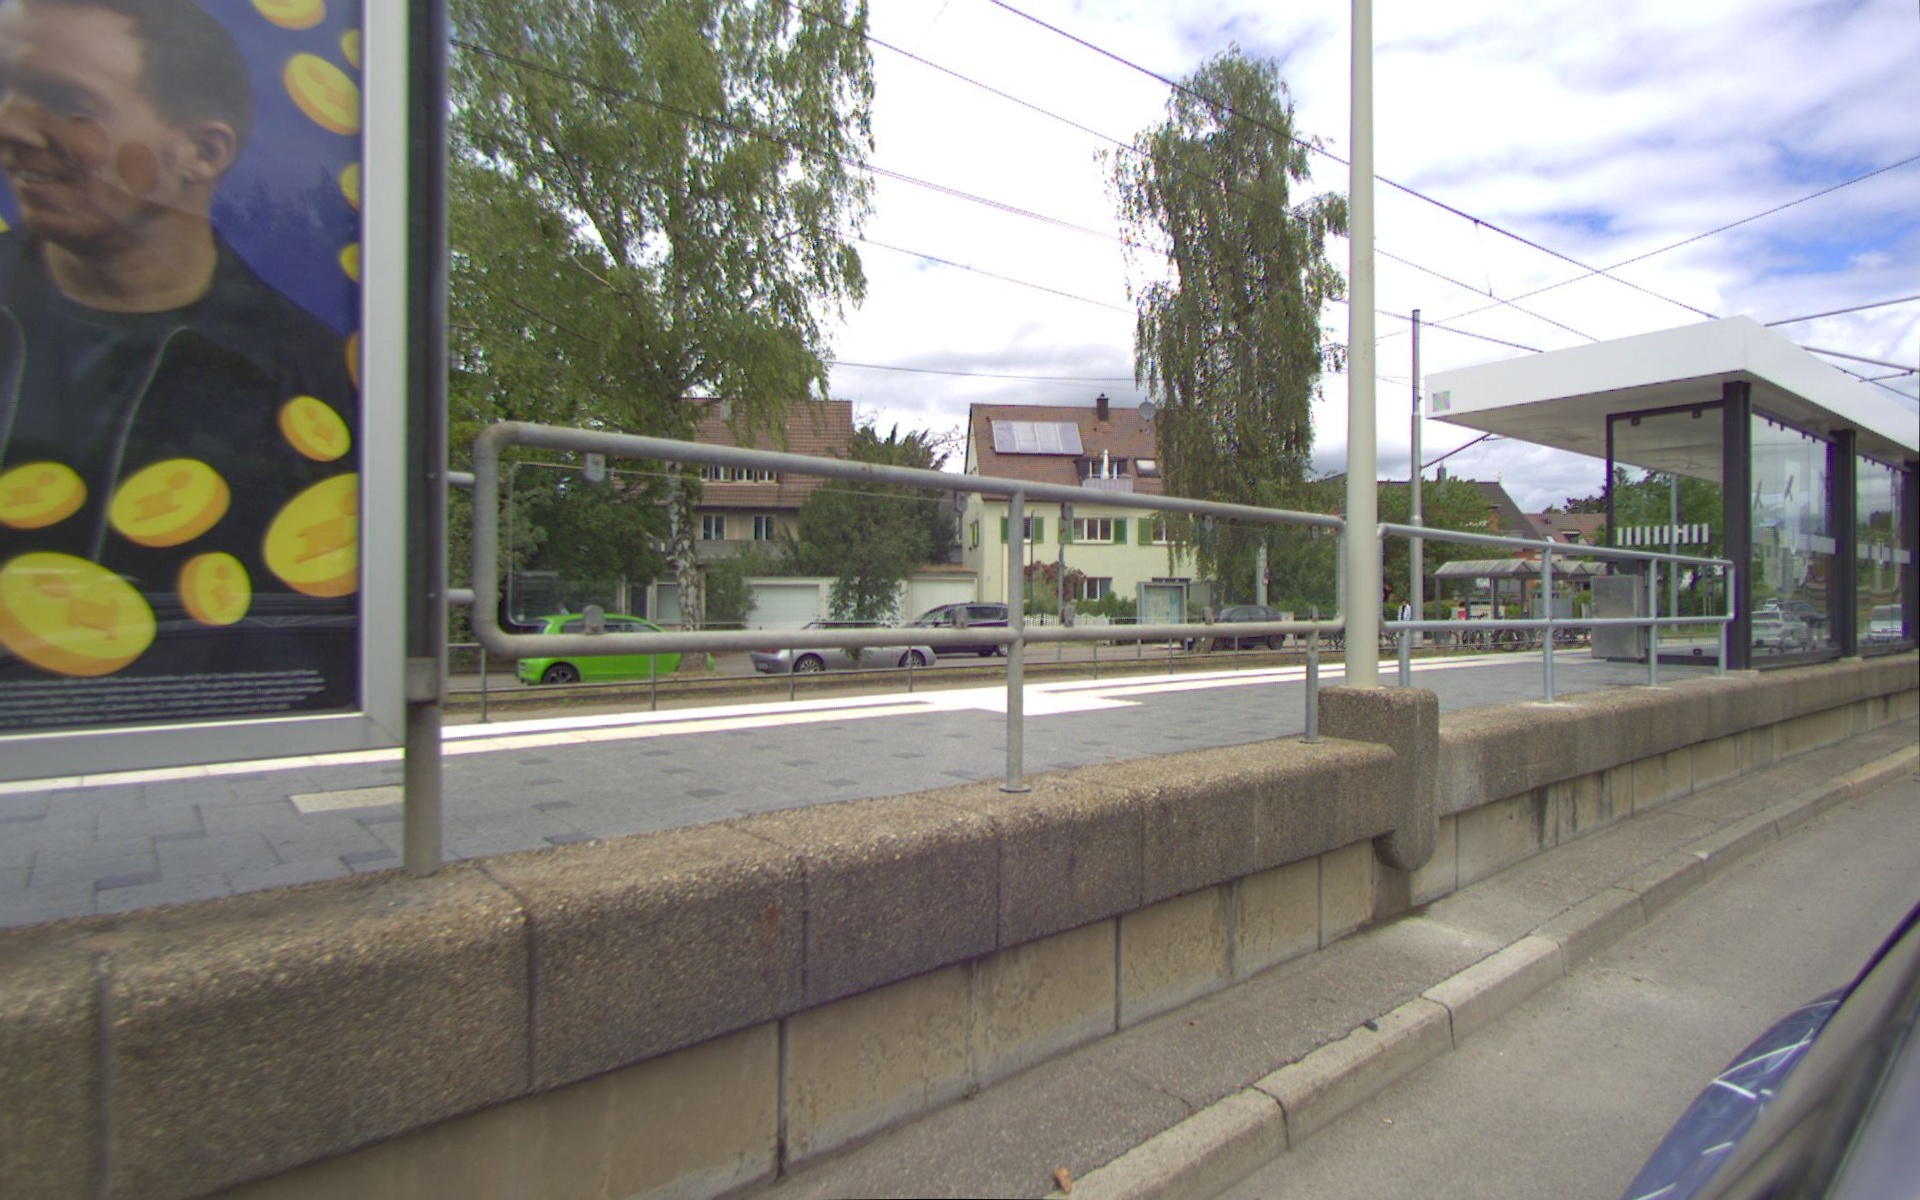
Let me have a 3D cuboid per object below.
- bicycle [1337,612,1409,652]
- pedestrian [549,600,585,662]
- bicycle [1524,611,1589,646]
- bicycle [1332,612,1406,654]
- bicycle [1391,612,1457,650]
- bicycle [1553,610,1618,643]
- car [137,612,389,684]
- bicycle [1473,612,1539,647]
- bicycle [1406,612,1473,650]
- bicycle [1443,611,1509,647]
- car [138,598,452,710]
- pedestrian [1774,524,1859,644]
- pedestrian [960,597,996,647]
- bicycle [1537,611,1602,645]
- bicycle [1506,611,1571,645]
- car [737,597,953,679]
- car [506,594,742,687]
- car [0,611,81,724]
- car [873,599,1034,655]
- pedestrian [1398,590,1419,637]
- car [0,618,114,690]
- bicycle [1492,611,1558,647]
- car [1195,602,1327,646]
[{"bbox_3d":[11.303,0.868,27.747,0.547,1.055,1.769,0,-1,-37],"label":"bicycle"},{"bbox_3d":[-11.547,0.910,29.743,0.672,1.793,0.826,0,-1,6],"label":"pedestrian"},{"bbox_3d":[19.007,0.891,32.283,0.546,1.055,1.773,0,-1,-28],"label":"bicycle"},{"bbox_3d":[10.899,0.862,27.017,0.547,1.055,1.769,0,-1,-38],"label":"bicycle"},{"bbox_3d":[13.367,0.866,29.199,0.546,1.055,1.773,0,-1,-28],"label":"bicycle"},{"bbox_3d":[20.403,0.856,33.043,0.546,1.055,1.773,0,-1,-28],"label":"bicycle"},{"bbox_3d":[-16.995,1.119,24.996,4.826,1.507,1.766,-1,1,-22],"label":"car"},{"bbox_3d":[16.831,0.889,31.221,0.546,1.055,1.773,0,-1,-28],"label":"bicycle"},{"bbox_3d":[13.953,0.876,29.499,0.546,1.055,1.773,0,-1,-28],"label":"bicycle"},{"bbox_3d":[15.497,0.849,30.423,0.546,1.055,1.773,0,-1,-28],"label":"bicycle"},{"bbox_3d":[-10.529,0.763,16.279,4.021,1.594,1.762,0,0,-35],"label":"car"},{"bbox_3d":[9.743,-0.174,11.511,0.707,1.315,0.621,0,-1,-39],"label":"pedestrian"},{"bbox_3d":[0.626,0.746,34.888,0.930,1.707,0.811,0,-1,-35],"label":"pedestrian"},{"bbox_3d":[19.626,0.883,32.619,0.546,1.055,1.773,0,-1,-28],"label":"bicycle"},{"bbox_3d":[18.235,0.865,31.946,0.546,1.055,1.773,0,-1,-28],"label":"bicycle"},{"bbox_3d":[-2.442,0.745,21.804,4.179,1.594,2.070,0,0,-35],"label":"car"},{"bbox_3d":[-6.321,0.686,19.170,3.924,1.594,1.736,0,0,-35],"label":"car"},{"bbox_3d":[-15.040,0.917,13.669,4.407,1.507,1.850,0,0,-24],"label":"car"},{"bbox_3d":[-0.206,0.796,31.775,4.737,1.656,1.825,0,0,-19],"label":"car"},{"bbox_3d":[18.585,0.556,41.959,0.622,1.939,0.819,0,-1,38],"label":"pedestrian"},{"bbox_3d":[-22.318,1.242,22.834,4.599,1.507,1.766,-1,1,-22],"label":"car"},{"bbox_3d":[17.623,0.892,31.610,0.546,1.055,1.773,0,-1,-28],"label":"bicycle"},{"bbox_3d":[10.786,0.830,36.282,4.329,1.505,1.825,0,0,-23],"label":"car"}]
